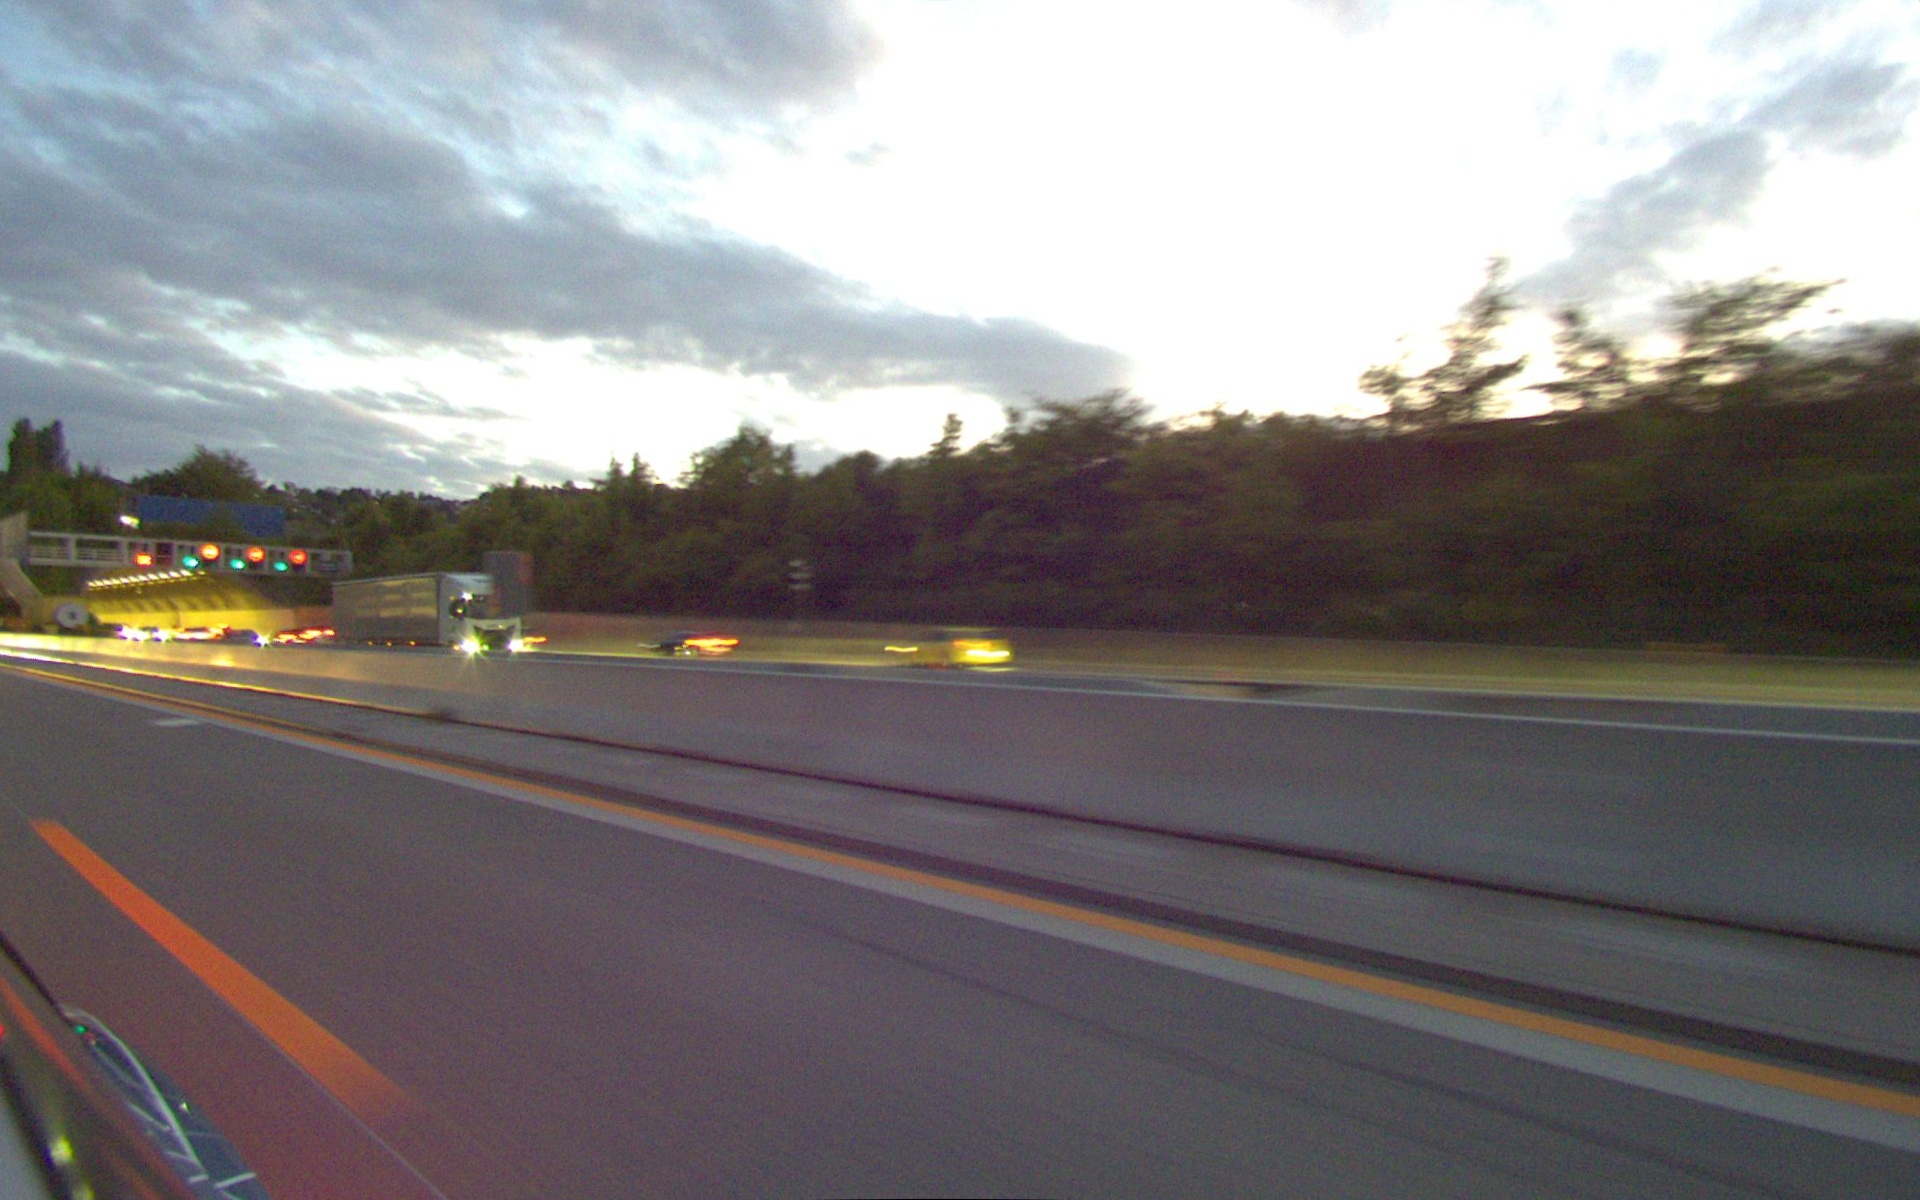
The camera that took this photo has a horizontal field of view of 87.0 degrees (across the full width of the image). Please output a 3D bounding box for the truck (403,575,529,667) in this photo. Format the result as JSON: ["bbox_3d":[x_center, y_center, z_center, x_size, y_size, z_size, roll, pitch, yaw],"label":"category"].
[{"bbox_3d":[-22.094,0.874,45.131,6.298,3.803,2.774,-1,0,41],"label":"truck"}]

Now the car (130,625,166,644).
[{"bbox_3d":[-69.699,2.902,86.891,3.999,1.492,1.768,-1,1,42],"label":"car"}]

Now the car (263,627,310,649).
[{"bbox_3d":[-49.484,2.763,74.338,4.669,1.465,1.732,-1,1,42],"label":"car"}]

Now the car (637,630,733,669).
[{"bbox_3d":[-12.097,2.120,44.390,4.700,1.496,1.791,-1,1,42],"label":"car"}]

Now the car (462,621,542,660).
[{"bbox_3d":[-22.937,1.977,50.568,4.807,1.751,1.880,-1,1,42],"label":"car"}]

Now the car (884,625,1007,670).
[{"bbox_3d":[-0.600,1.756,38.289,4.700,1.496,1.806,-1,1,42],"label":"car"}]

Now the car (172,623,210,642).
[{"bbox_3d":[-70.080,2.916,92.192,4.874,1.600,1.788,-1,1,40],"label":"car"}]

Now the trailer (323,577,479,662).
[{"bbox_3d":[-27.917,0.908,50.134,11.828,3.811,2.770,-1,0,41],"label":"trailer"}]

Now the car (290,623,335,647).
[{"bbox_3d":[-50.992,2.748,79.655,4.667,1.735,1.733,-1,1,40],"label":"car"}]

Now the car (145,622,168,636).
[{"bbox_3d":[-97.352,3.491,122.551,4.094,1.481,1.560,-1,1,42],"label":"car"}]
